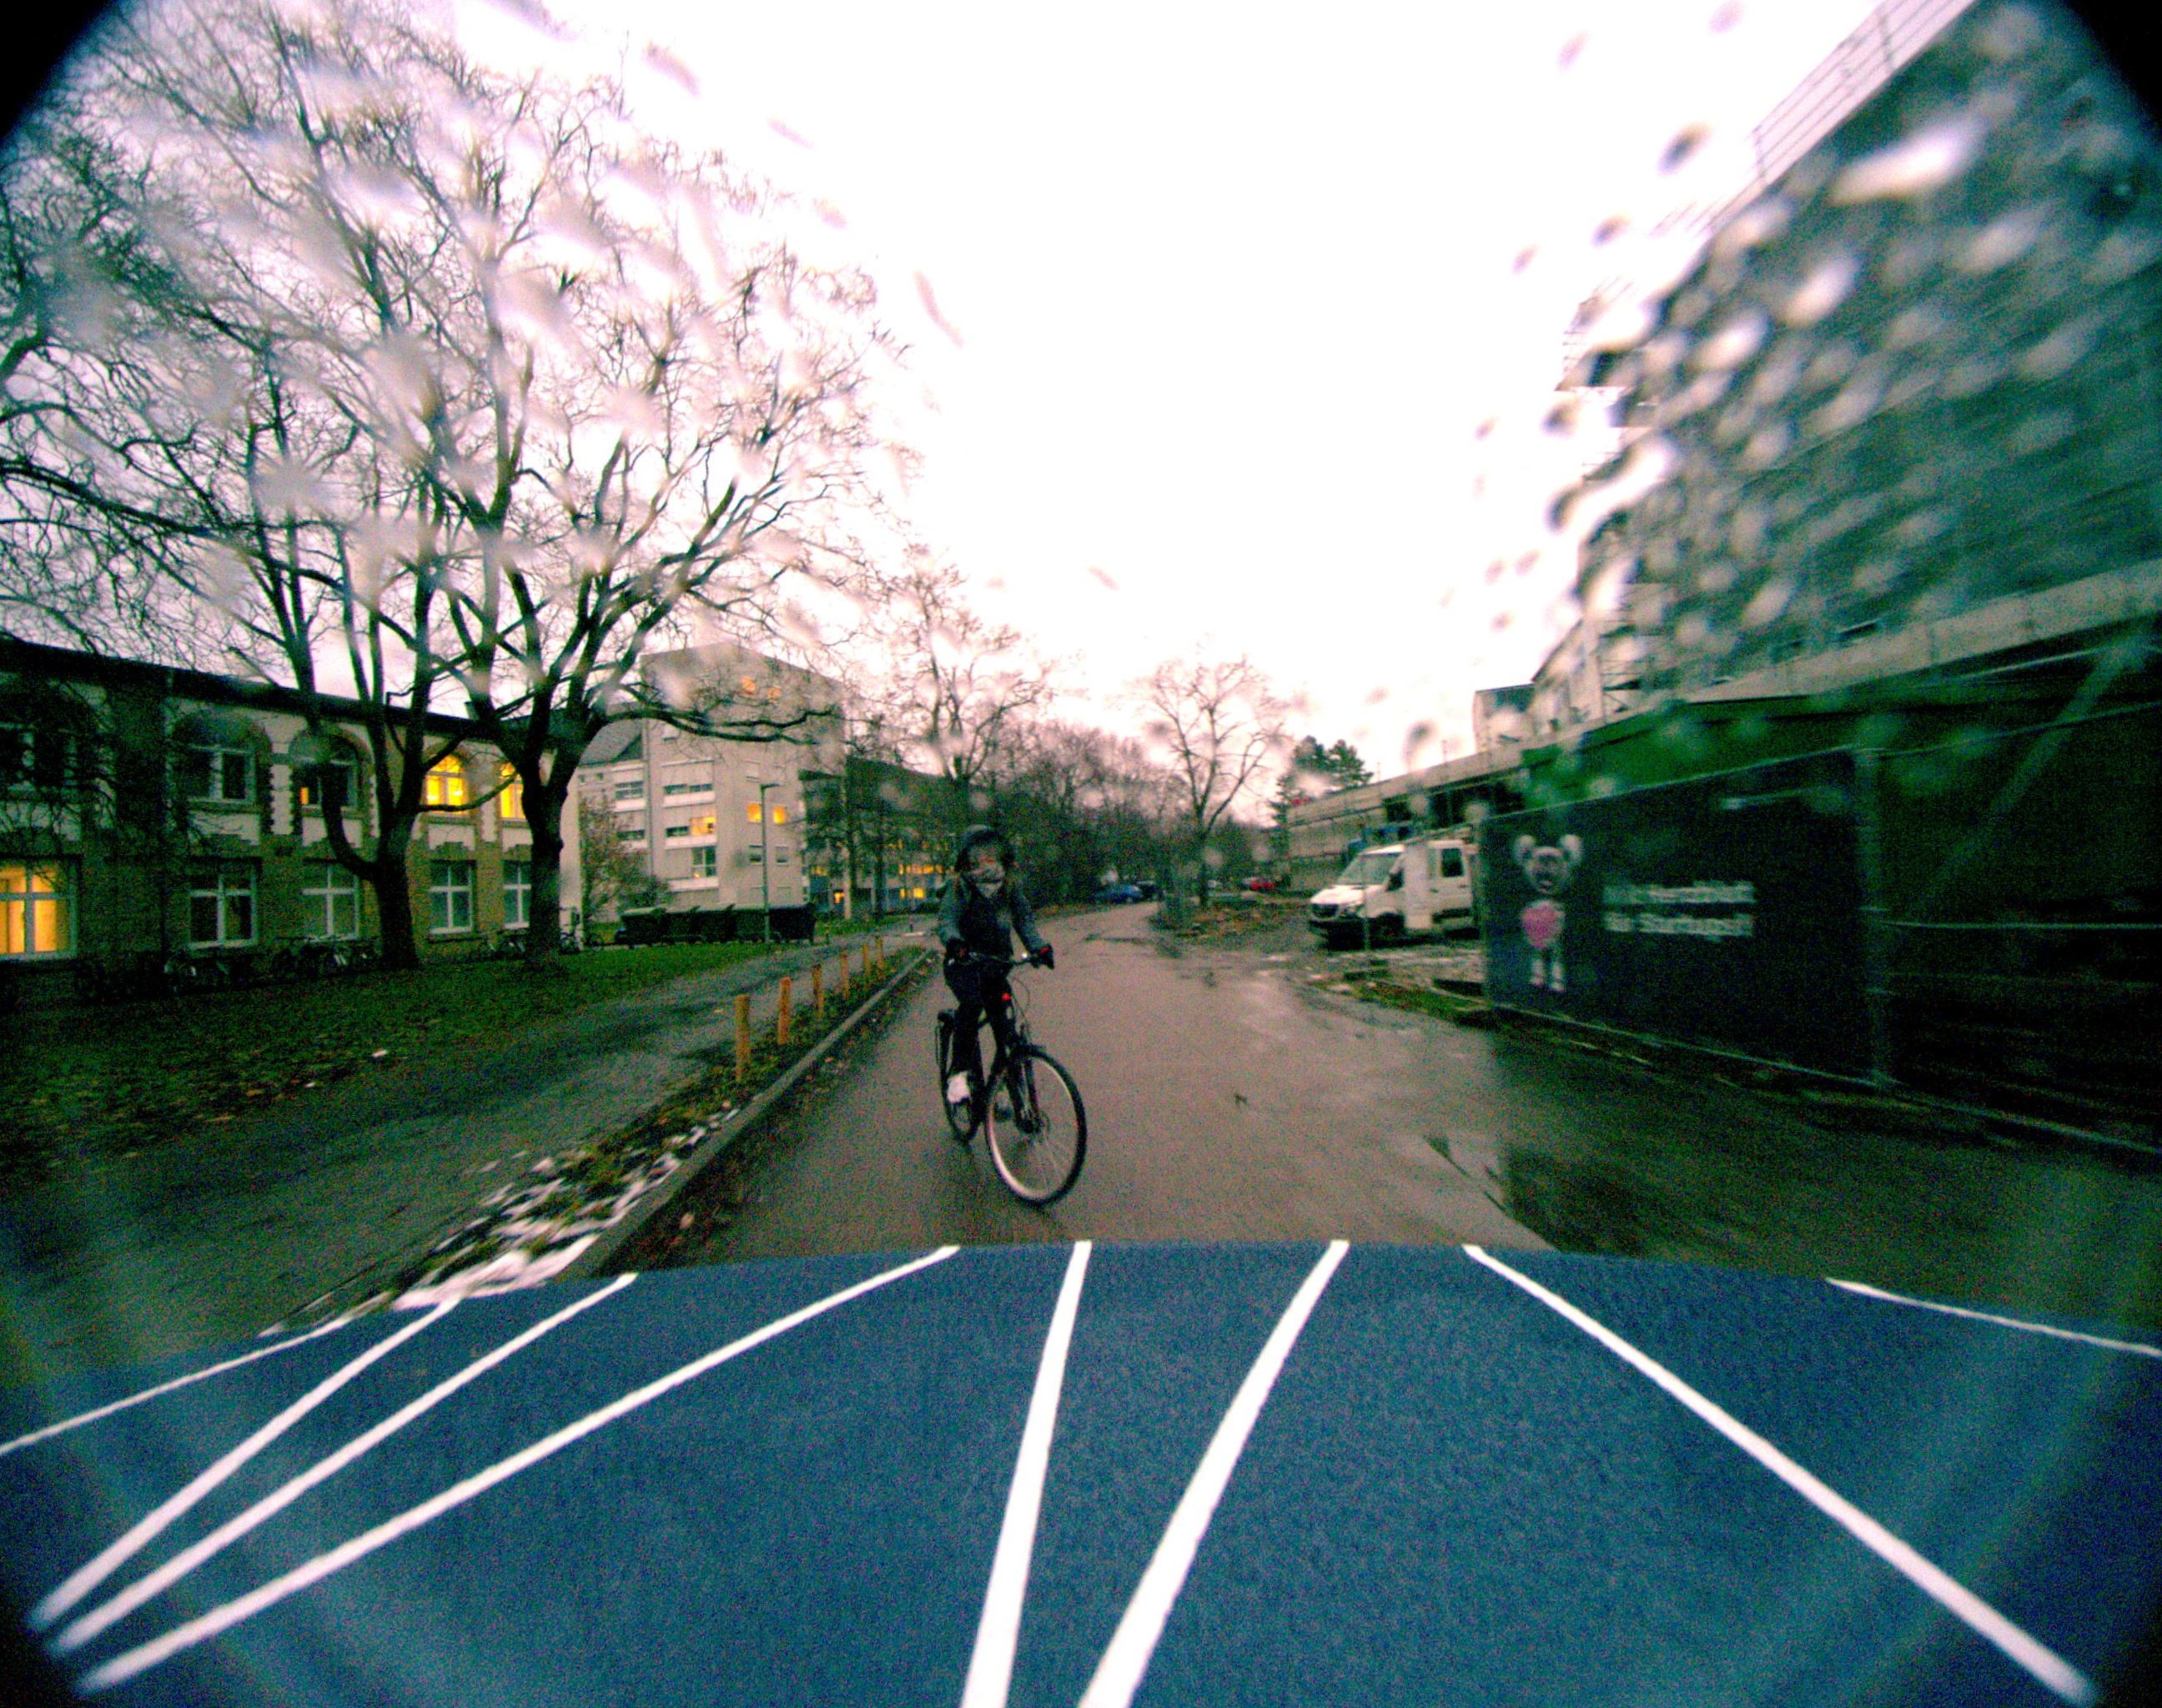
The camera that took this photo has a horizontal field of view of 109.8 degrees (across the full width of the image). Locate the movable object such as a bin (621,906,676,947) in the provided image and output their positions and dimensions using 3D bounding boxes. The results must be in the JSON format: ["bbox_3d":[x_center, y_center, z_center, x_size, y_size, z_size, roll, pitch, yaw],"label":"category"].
[{"bbox_3d":[-14.796,2.471,26.005,1.261,1.306,0.989,-3,-1,16],"label":"movable object such as a bin"}]

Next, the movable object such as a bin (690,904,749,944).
[{"bbox_3d":[-12.047,2.329,25.356,1.435,1.217,0.989,-3,-1,16],"label":"movable object such as a bin"}]

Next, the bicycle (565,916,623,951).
[{"bbox_3d":[-16.797,2.747,26.193,2.137,1.150,0.574,-3,-1,23],"label":"bicycle"}]

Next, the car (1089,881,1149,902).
[{"bbox_3d":[2.923,2.924,58.832,4.172,1.468,2.004,-3,-4,20],"label":"car"}]

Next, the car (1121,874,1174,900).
[{"bbox_3d":[5.622,2.765,64.178,3.991,1.979,2.003,-3,-2,23],"label":"car"}]

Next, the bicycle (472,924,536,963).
[{"bbox_3d":[-17.885,2.777,23.553,2.137,1.150,0.574,-3,-1,23],"label":"bicycle"}]

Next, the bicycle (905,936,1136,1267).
[{"bbox_3d":[-0.439,1.074,3.983,0.731,1.126,1.892,-2,-2,-18],"label":"bicycle"}]

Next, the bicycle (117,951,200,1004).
[{"bbox_3d":[-20.439,2.709,16.828,2.136,1.011,0.574,-1,-1,23],"label":"bicycle"}]

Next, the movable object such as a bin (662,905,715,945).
[{"bbox_3d":[-13.378,2.408,25.922,1.249,1.272,0.989,-3,-1,16],"label":"movable object such as a bin"}]

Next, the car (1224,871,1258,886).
[{"bbox_3d":[21.211,3.226,100.733,3.991,1.785,1.805,-3,-2,23],"label":"car"}]

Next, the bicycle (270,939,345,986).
[{"bbox_3d":[-19.544,2.730,19.187,2.137,1.085,0.574,-3,-1,23],"label":"bicycle"}]

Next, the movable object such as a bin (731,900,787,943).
[{"bbox_3d":[-10.528,2.191,24.866,1.305,1.306,0.989,-3,-1,16],"label":"movable object such as a bin"}]

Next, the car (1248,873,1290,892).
[{"bbox_3d":[16.243,2.452,65.506,3.303,1.514,1.707,-3,-2,19],"label":"car"}]

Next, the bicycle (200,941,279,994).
[{"bbox_3d":[-19.952,2.681,18.011,2.137,1.150,0.574,-3,-1,23],"label":"bicycle"}]

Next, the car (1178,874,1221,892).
[{"bbox_3d":[12.534,3.071,80.316,3.991,1.651,2.003,-3,-2,23],"label":"car"}]

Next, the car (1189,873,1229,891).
[{"bbox_3d":[14.011,3.025,83.163,3.991,1.785,1.805,-3,-2,23],"label":"car"}]

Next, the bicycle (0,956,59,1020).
[{"bbox_3d":[-20.997,2.607,14.937,2.137,1.150,0.574,-3,-1,23],"label":"bicycle"}]

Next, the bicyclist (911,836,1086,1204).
[{"bbox_3d":[-0.467,0.779,3.988,0.707,1.679,0.770,-2,-1,-17],"label":"bicyclist"}]

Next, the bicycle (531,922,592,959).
[{"bbox_3d":[-17.353,2.891,25.362,2.137,1.150,0.574,-3,-1,23],"label":"bicycle"}]

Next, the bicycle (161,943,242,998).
[{"bbox_3d":[-20.182,2.656,17.433,2.137,1.150,0.574,-3,-1,23],"label":"bicycle"}]

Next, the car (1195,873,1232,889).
[{"bbox_3d":[15.853,3.210,90.724,3.991,1.785,1.805,-3,-2,23],"label":"car"}]

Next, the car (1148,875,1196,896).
[{"bbox_3d":[8.452,2.905,70.691,3.991,1.785,1.805,-3,-2,23],"label":"car"}]

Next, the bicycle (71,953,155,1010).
[{"bbox_3d":[-20.676,2.694,16.218,2.136,1.044,0.574,-2,-1,23],"label":"bicycle"}]

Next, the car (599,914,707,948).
[{"bbox_3d":[-20.317,3.630,36.228,1.995,1.273,4.008,-3,-2,26],"label":"car"}]

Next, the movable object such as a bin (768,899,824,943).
[{"bbox_3d":[-9.160,2.144,24.470,1.322,1.309,1.064,-1,-1,3],"label":"movable object such as a bin"}]

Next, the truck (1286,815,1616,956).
[{"bbox_3d":[8.605,0.660,17.724,7.084,2.572,2.130,-4,-1,-15],"label":"truck"}]

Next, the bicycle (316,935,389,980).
[{"bbox_3d":[-19.233,2.730,20.047,2.137,1.103,0.574,-3,-1,23],"label":"bicycle"}]

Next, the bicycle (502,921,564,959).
[{"bbox_3d":[-17.597,2.758,24.397,2.137,1.150,0.574,-3,-1,23],"label":"bicycle"}]
